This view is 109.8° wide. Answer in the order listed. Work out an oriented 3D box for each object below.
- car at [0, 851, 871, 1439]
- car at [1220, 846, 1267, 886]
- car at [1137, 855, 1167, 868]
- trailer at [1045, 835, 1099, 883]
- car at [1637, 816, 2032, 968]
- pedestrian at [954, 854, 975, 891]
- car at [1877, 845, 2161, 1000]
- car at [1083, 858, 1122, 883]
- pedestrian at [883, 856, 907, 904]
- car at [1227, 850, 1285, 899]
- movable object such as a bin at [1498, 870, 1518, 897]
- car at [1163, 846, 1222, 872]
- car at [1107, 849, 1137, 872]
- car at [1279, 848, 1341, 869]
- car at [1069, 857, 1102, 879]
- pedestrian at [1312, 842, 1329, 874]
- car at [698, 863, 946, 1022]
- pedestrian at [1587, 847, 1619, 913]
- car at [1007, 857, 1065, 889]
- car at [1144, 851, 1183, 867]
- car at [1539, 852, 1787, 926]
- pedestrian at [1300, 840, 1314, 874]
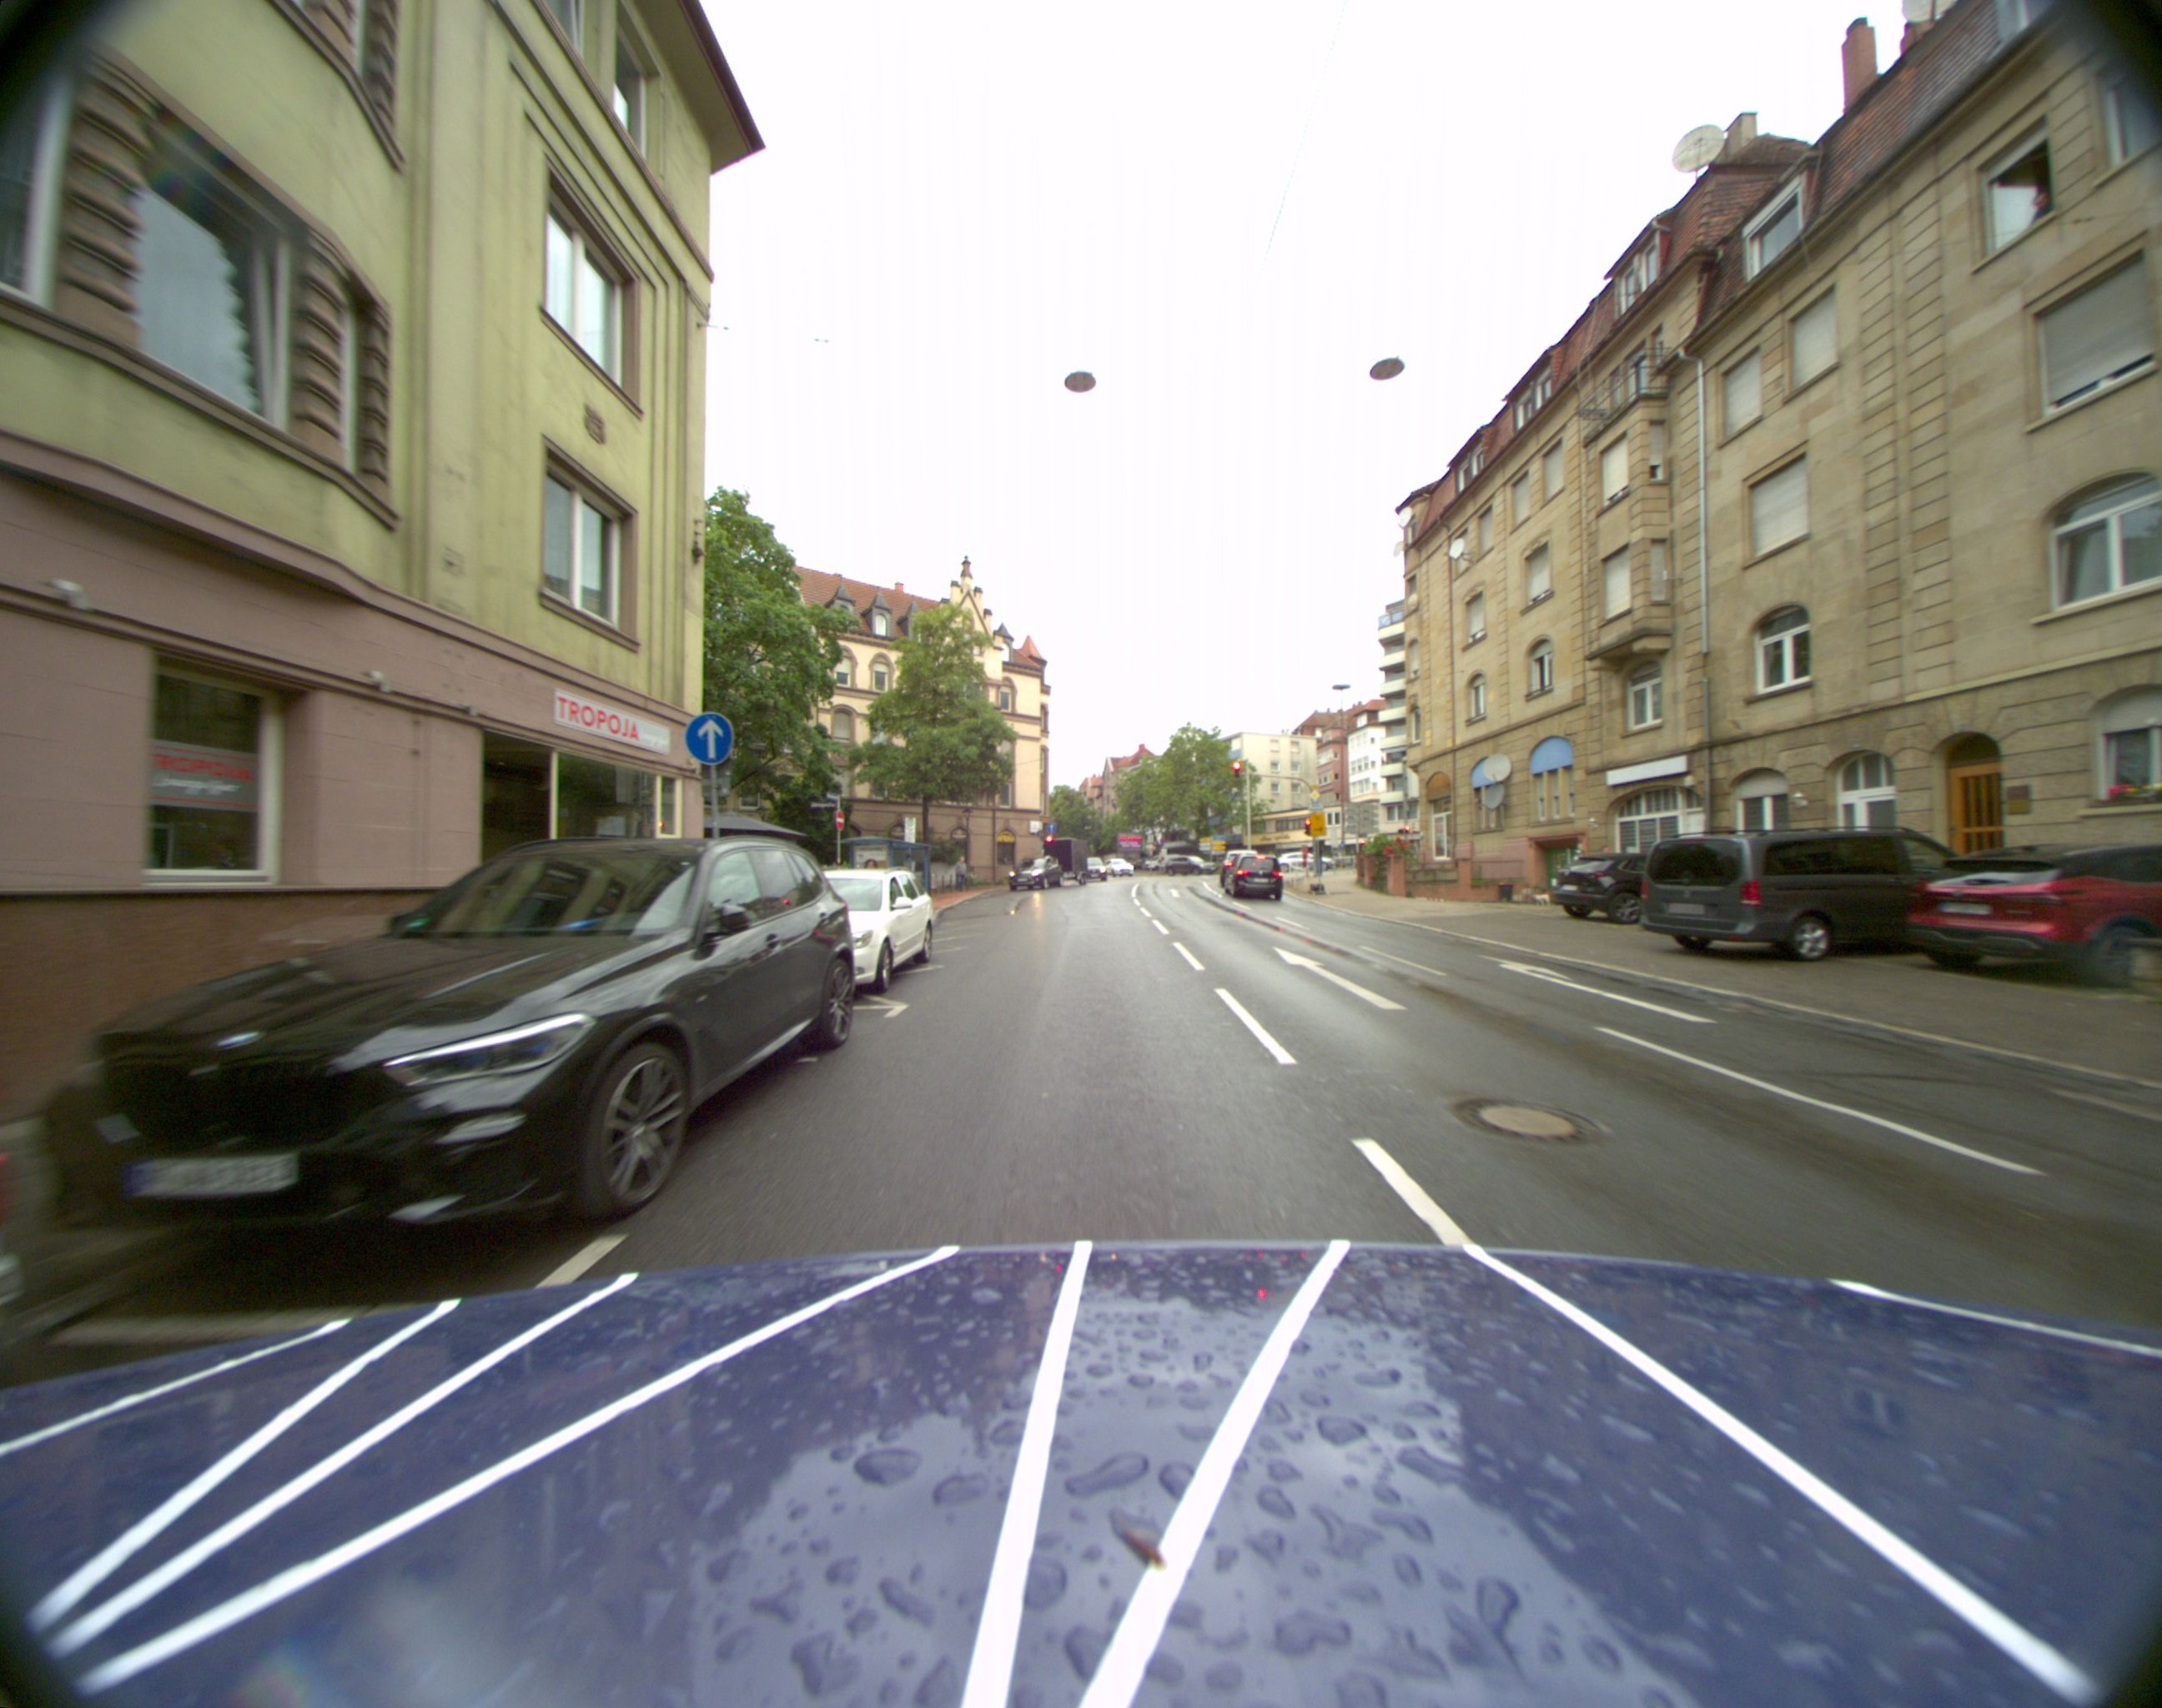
[{"bbox_3d":[-2.934,0.885,4.622,1.883,1.721,4.676,-2,0,1],"label":"car"},{"bbox_3d":[7.773,0.524,36.719,1.968,1.683,4.810,-1,1,9],"label":"car"},{"bbox_3d":[10.096,1.040,107.374,3.841,1.680,1.802,-2,2,-26],"label":"car"},{"bbox_3d":[-0.436,0.268,44.262,1.936,2.621,4.689,0,0,15],"label":"trailer"},{"bbox_3d":[11.501,0.511,11.742,4.689,1.927,1.862,-2,0,-9],"label":"car"},{"bbox_3d":[-5.589,0.865,36.427,0.572,1.723,0.733,-2,0,28],"label":"pedestrian"},{"bbox_3d":[13.007,0.756,9.505,4.107,1.581,1.897,-3,1,0],"label":"car"},{"bbox_3d":[1.389,1.077,50.618,1.650,1.594,3.663,0,0,-13],"label":"car"},{"bbox_3d":[-6.996,0.992,28.565,0.559,1.765,0.546,-2,0,29],"label":"pedestrian"},{"bbox_3d":[6.531,0.719,28.778,1.624,1.639,4.422,2,1,7],"label":"car"},{"bbox_3d":[15.135,1.037,26.934,0.476,0.945,0.417,-2,1,6],"label":"movable object such as a bin"},{"bbox_3d":[8.922,0.429,61.144,1.920,2.002,4.497,-3,1,-41],"label":"car"},{"bbox_3d":[3.715,0.568,69.462,1.916,2.002,4.452,-2,1,-7],"label":"car"},{"bbox_3d":[16.762,0.334,55.638,4.171,1.474,1.761,-1,0,23],"label":"car"},{"bbox_3d":[0.317,1.038,57.139,1.650,1.594,3.804,0,0,-13],"label":"car"},{"bbox_3d":[13.074,0.220,41.481,0.638,1.692,0.829,-2,0,3],"label":"pedestrian"},{"bbox_3d":[-3.172,0.973,10.386,1.803,1.556,4.492,-2,0,0],"label":"car"},{"bbox_3d":[14.329,0.694,20.864,0.479,1.767,0.564,-3,3,-33],"label":"pedestrian"},{"bbox_3d":[-2.202,0.923,38.409,1.860,1.503,3.686,0,0,15],"label":"car"},{"bbox_3d":[11.176,0.606,102.678,4.983,1.966,1.876,-2,1,-27],"label":"car"},{"bbox_3d":[13.073,0.761,17.270,4.157,1.502,1.873,-1,0,1],"label":"car"},{"bbox_3d":[11.981,0.169,40.330,0.523,1.763,0.694,-2,0,7],"label":"pedestrian"}]
